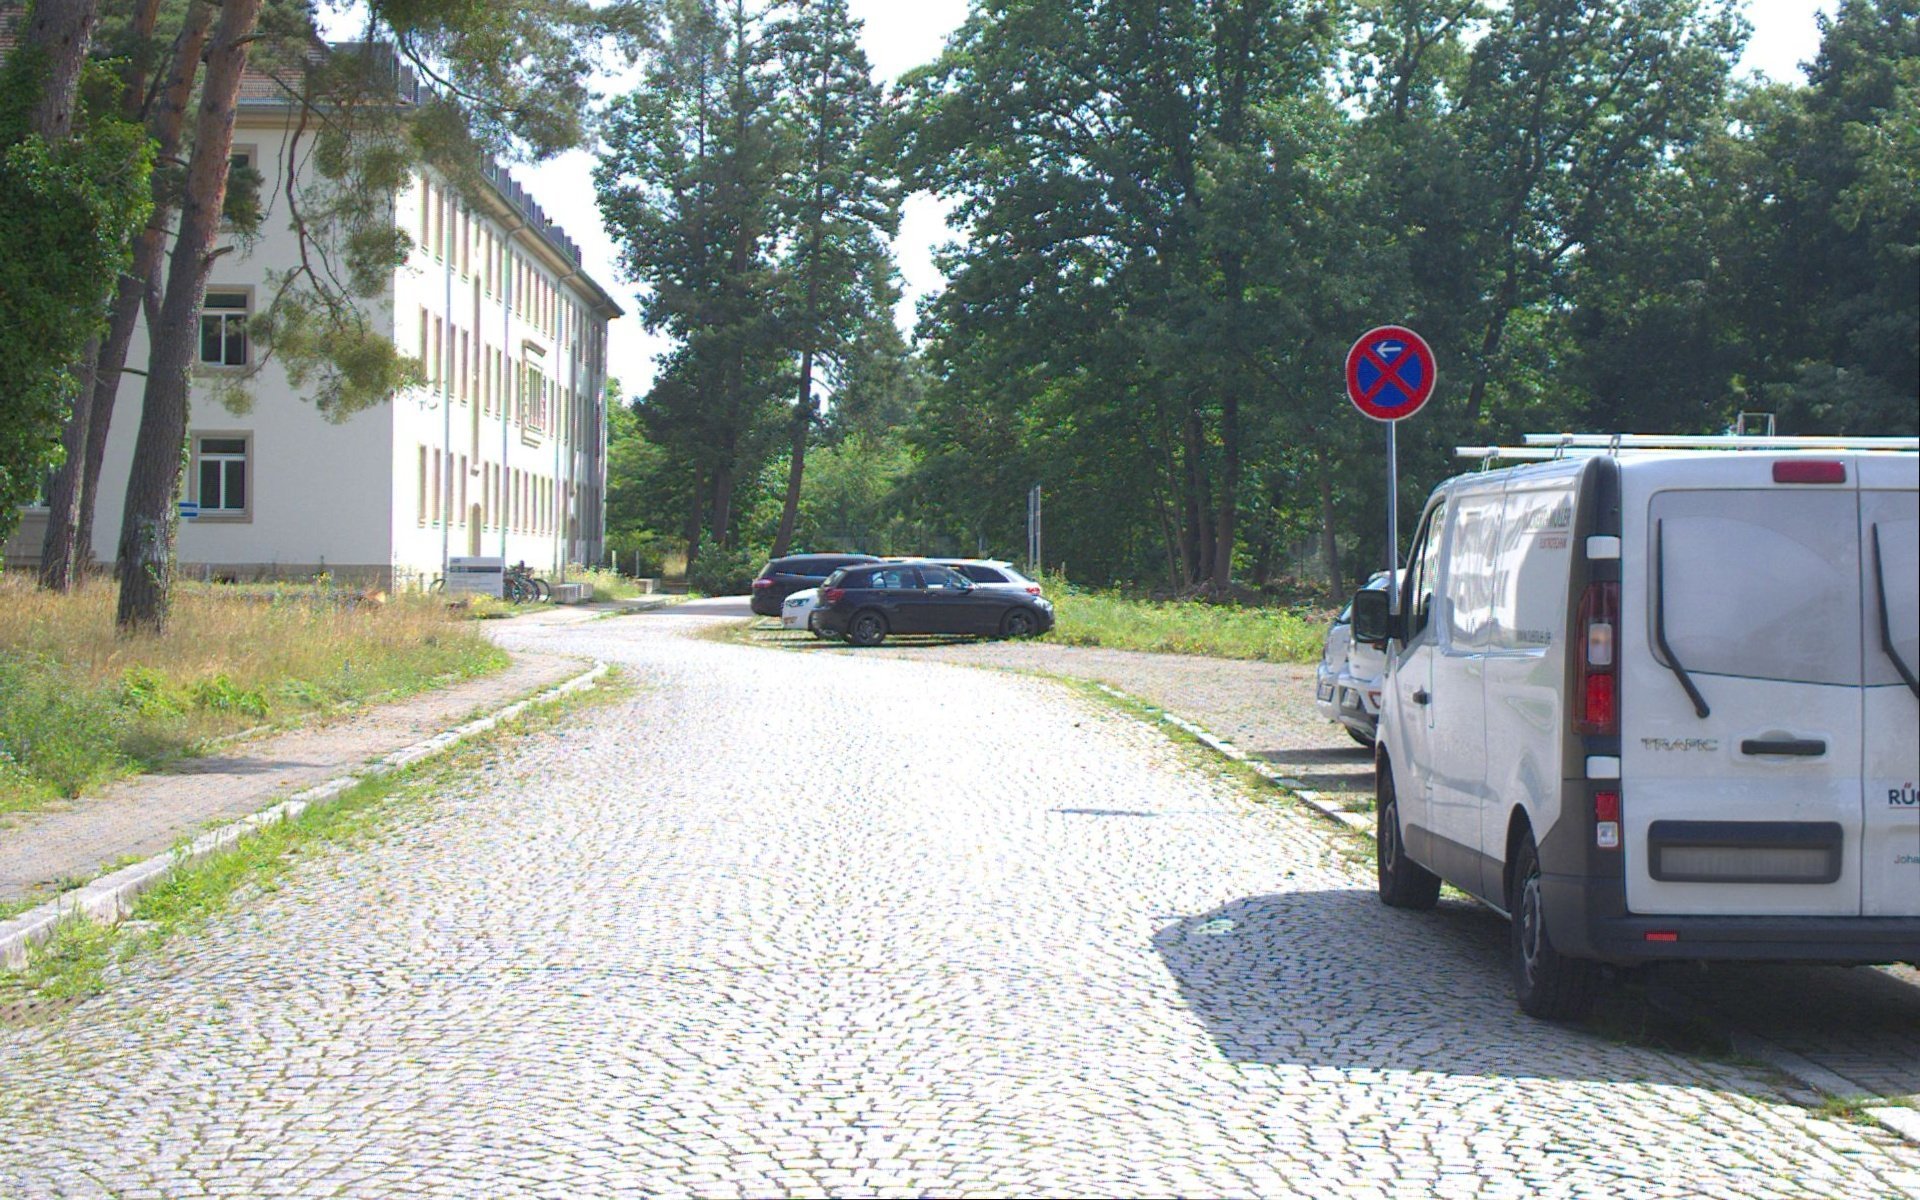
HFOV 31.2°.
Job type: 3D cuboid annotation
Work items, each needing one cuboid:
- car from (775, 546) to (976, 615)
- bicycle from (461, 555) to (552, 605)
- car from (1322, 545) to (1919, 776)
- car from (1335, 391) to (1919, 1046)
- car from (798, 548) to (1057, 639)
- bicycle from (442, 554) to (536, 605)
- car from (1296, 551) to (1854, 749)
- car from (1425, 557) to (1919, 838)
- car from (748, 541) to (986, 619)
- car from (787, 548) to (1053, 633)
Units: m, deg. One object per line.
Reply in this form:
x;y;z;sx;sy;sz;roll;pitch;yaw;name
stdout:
-1.900;-0.433;76.561;4.398;1.479;1.766;-1;0;-3;car
-11.618;-0.520;88.072;2.222;1.256;0.623;0;0;1;bicycle
4.685;0.394;24.190;3.986;1.501;1.747;-1;1;-4;car
2.787;0.344;13.615;1.914;2.046;5.679;0;1;-1;car
-0.592;-0.136;60.713;4.323;1.495;1.830;-1;2;-9;car
-11.703;-0.517;85.382;2.222;1.256;0.623;0;0;5;bicycle
4.822;0.370;27.259;4.041;1.459;1.704;-1;1;-4;car
5.056;0.501;19.635;4.453;1.470;1.746;-1;1;-6;car
-1.941;-0.412;71.244;4.852;1.547;1.880;-1;0;-3;car
-0.772;-0.197;63.923;4.861;1.467;1.875;-1;2;-3;car
